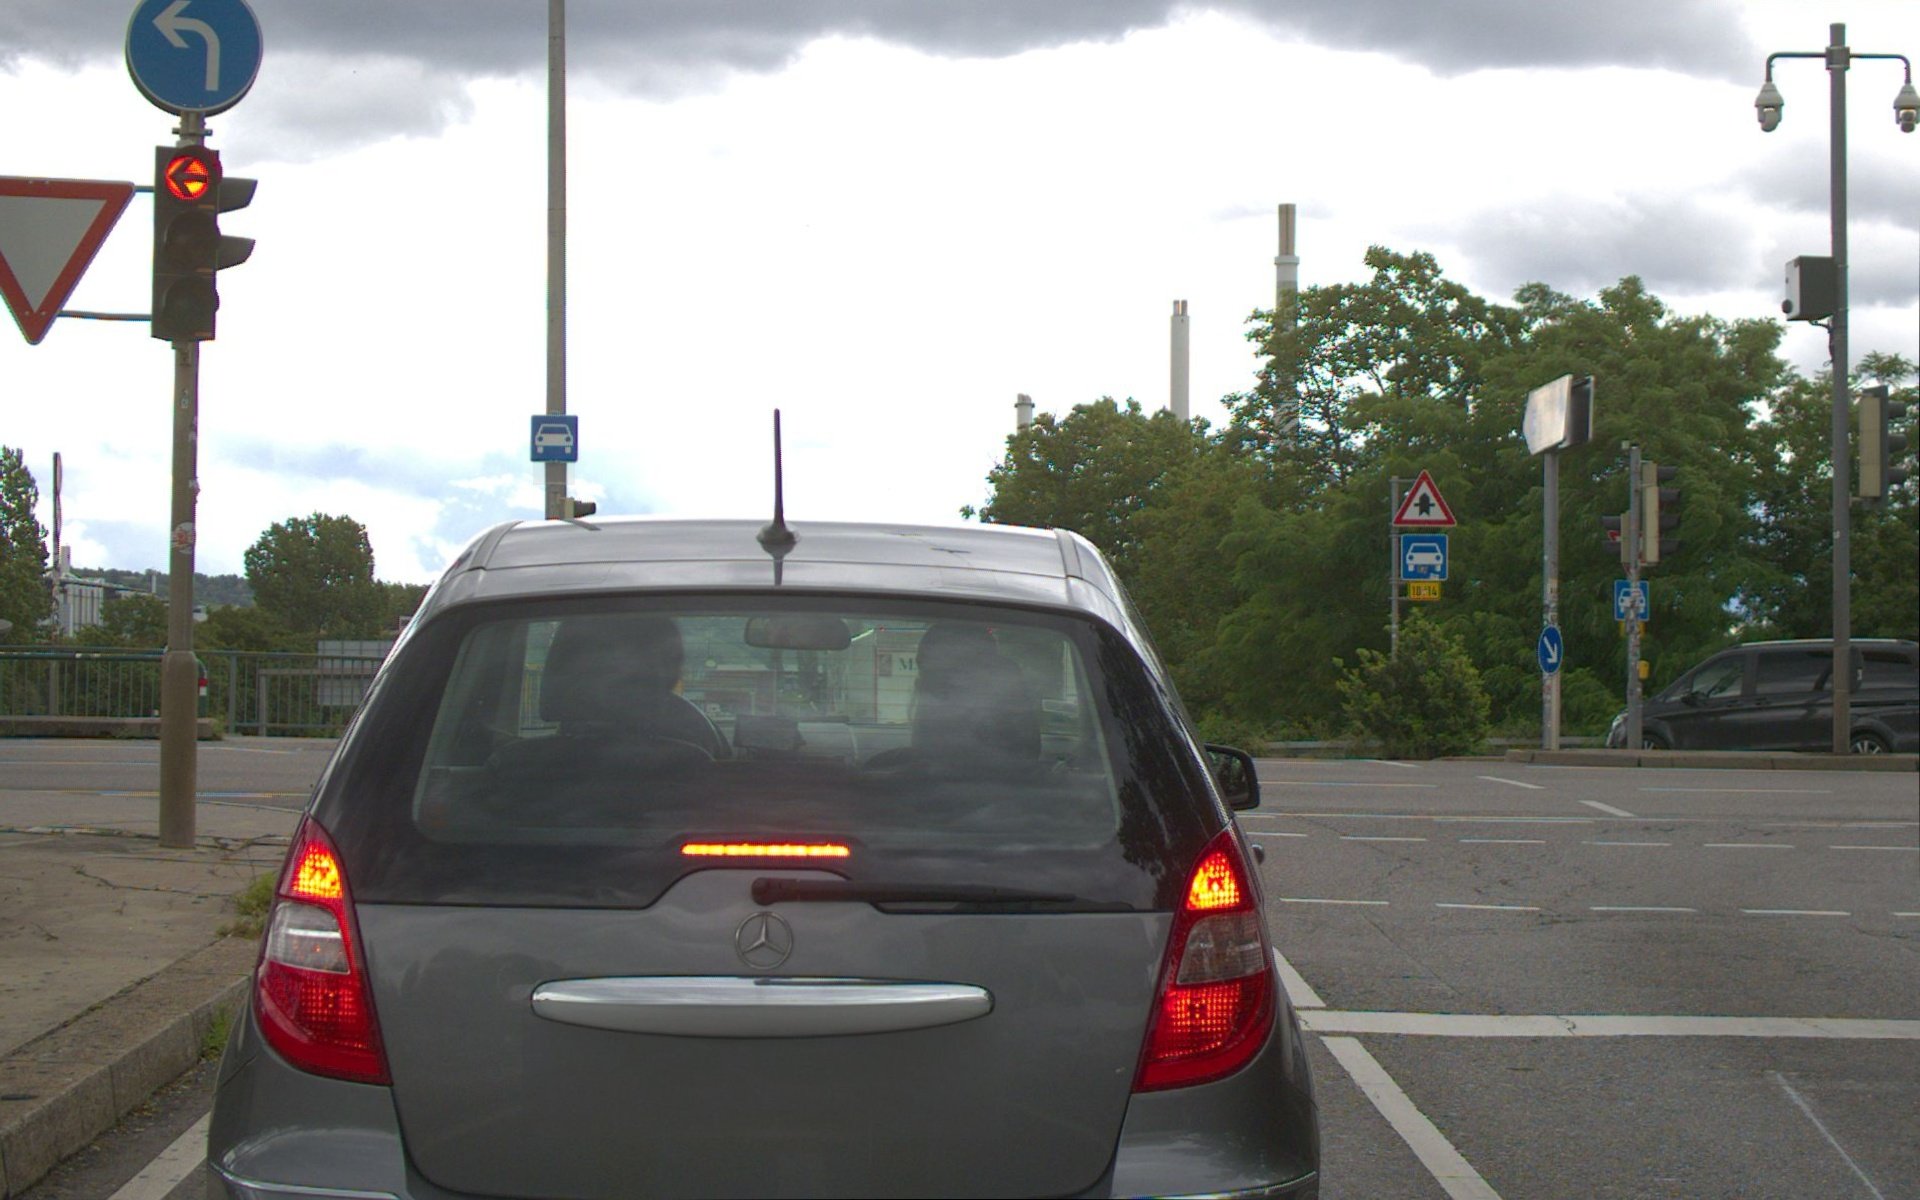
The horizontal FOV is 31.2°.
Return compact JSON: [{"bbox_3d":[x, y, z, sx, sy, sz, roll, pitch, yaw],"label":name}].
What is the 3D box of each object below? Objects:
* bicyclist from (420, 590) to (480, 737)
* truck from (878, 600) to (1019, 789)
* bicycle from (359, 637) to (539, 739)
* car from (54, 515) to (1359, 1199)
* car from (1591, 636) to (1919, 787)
[{"bbox_3d":[-5.951,0.731,40.064,0.653,1.668,0.870,0,1,-11],"label":"bicyclist"},{"bbox_3d":[-0.295,1.880,73.196,2.789,3.506,10.249,0,1,-1],"label":"truck"},{"bbox_3d":[-5.963,1.016,40.056,2.032,1.121,0.929,0,1,-11],"label":"bicycle"},{"bbox_3d":[-0.311,0.631,6.899,1.858,1.583,4.000,0,2,2],"label":"car"},{"bbox_3d":[11.209,1.449,45.656,5.234,1.765,2.001,1,2,37],"label":"car"}]
